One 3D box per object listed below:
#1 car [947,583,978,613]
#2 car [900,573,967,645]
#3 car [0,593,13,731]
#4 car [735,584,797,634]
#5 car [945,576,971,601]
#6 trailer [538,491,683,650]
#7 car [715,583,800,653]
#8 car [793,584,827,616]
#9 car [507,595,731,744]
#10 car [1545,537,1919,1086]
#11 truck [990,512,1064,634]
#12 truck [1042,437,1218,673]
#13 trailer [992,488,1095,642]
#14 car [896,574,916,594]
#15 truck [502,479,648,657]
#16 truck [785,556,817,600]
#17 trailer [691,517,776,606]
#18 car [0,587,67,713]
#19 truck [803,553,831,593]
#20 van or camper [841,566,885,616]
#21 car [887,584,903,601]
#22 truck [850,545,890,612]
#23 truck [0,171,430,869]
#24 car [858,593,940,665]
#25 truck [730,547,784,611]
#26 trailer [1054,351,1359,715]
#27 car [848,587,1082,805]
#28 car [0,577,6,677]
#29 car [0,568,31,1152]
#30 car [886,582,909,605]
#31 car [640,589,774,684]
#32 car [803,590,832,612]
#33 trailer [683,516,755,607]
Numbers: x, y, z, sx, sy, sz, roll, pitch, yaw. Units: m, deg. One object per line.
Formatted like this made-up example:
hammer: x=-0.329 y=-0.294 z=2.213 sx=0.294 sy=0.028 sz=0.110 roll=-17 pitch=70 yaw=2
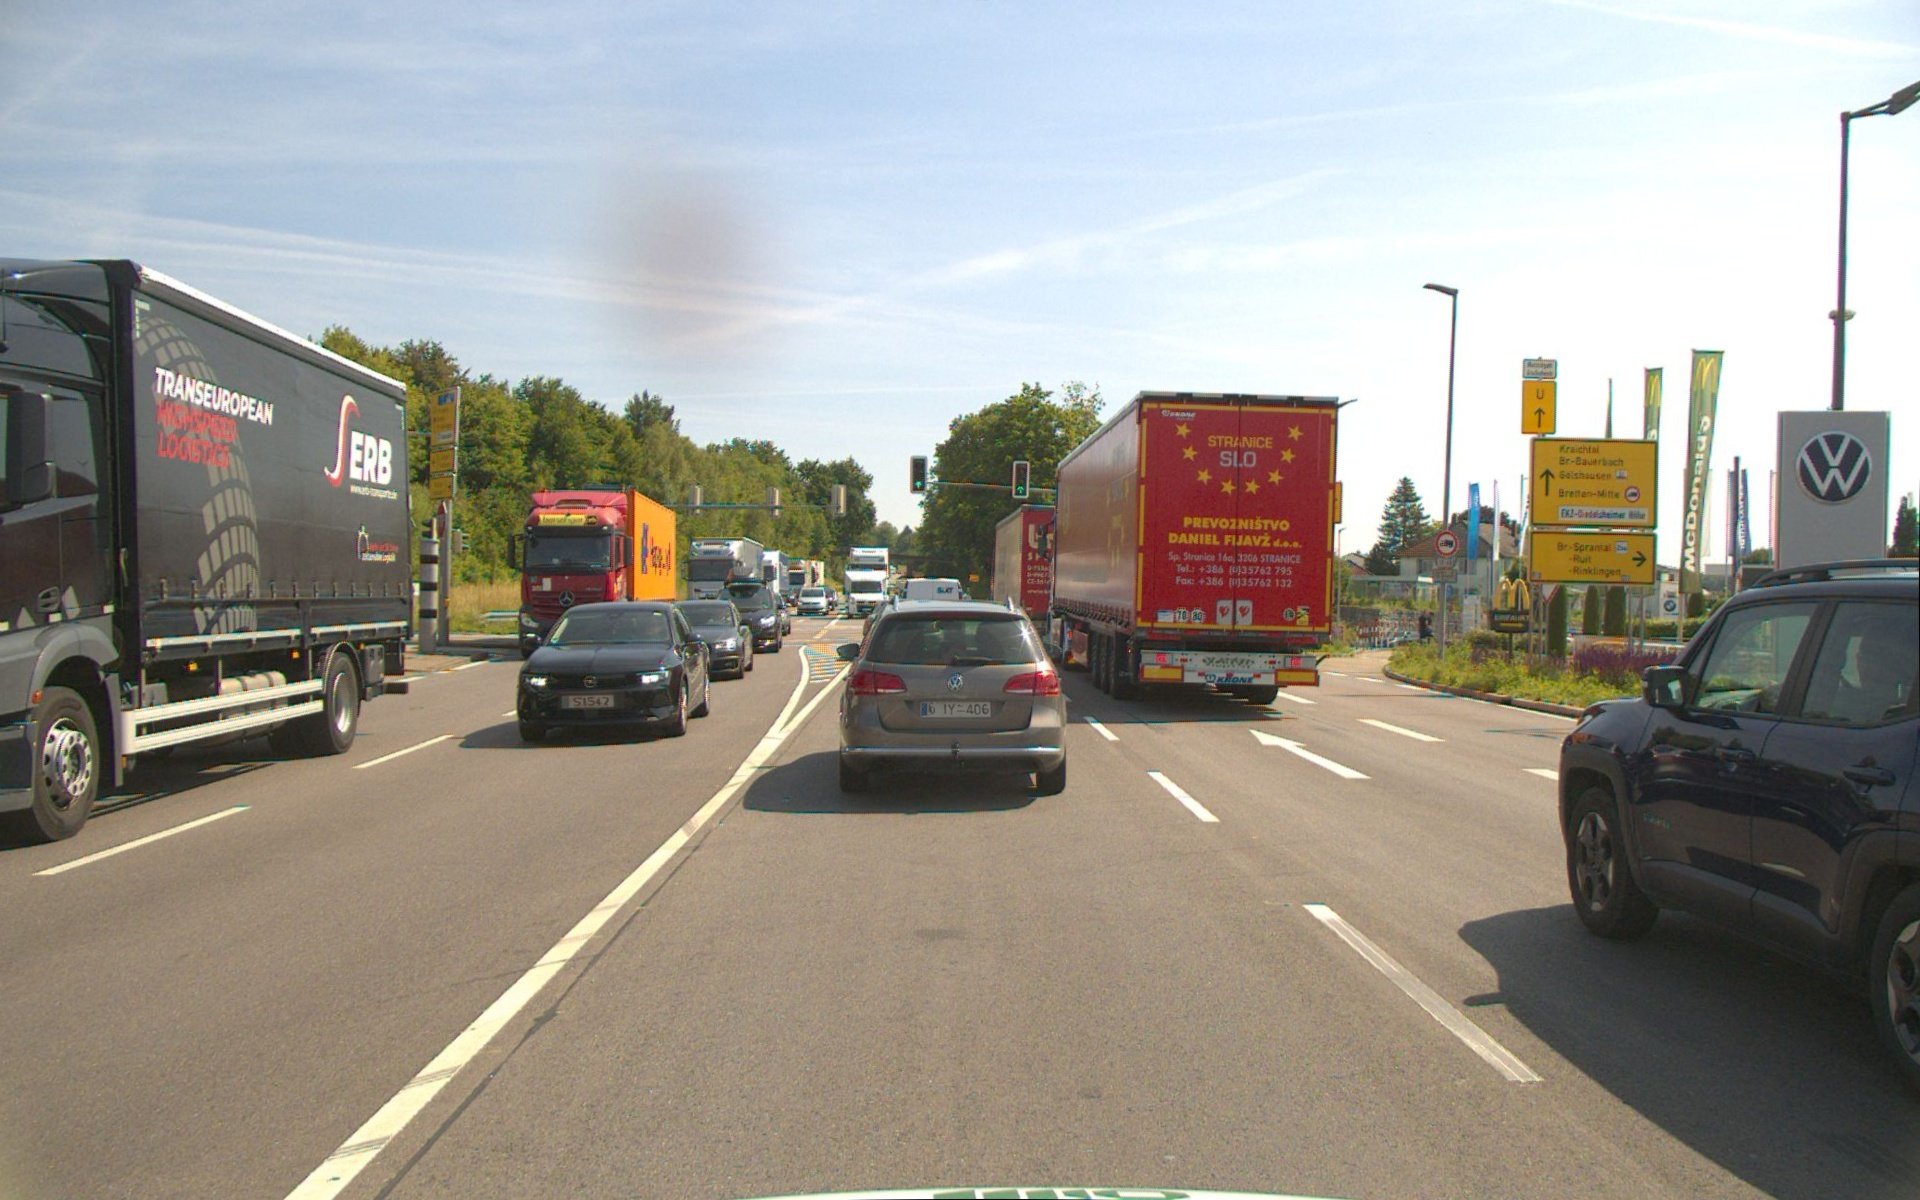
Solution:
car: x=0.159 y=-0.134 z=114.915 sx=1.954 sy=2.049 sz=3.997 roll=0 pitch=0 yaw=-3
car: x=-0.802 y=0.237 z=47.526 sx=1.735 sy=1.970 sz=3.975 roll=0 pitch=0 yaw=-3
car: x=-13.007 y=0.556 z=17.842 sx=4.661 sy=1.501 sz=1.870 roll=4 pitch=-1 yaw=-35
car: x=-6.844 y=0.273 z=58.621 sx=1.883 sy=1.630 sz=4.586 roll=-1 pitch=1 yaw=-3
car: x=-0.160 y=-0.938 z=139.083 sx=1.954 sy=2.049 sz=3.997 roll=0 pitch=0 yaw=-3
trailer: x=-9.982 y=-0.794 z=48.567 sx=2.667 sy=4.068 sz=12.222 roll=0 pitch=0 yaw=-5
car: x=-5.183 y=0.419 z=42.832 sx=1.870 sy=1.630 sz=4.586 roll=-1 pitch=1 yaw=-3
car: x=-9.086 y=-0.016 z=100.465 sx=1.806 sy=1.763 sz=4.586 roll=2 pitch=1 yaw=-3
car: x=-3.801 y=0.703 z=19.163 sx=1.677 sy=1.469 sz=4.378 roll=-2 pitch=0 yaw=0
car: x=3.789 y=0.643 z=6.185 sx=1.734 sy=1.683 sz=3.999 roll=0 pitch=0 yaw=-1
truck: x=2.357 y=-0.940 z=59.757 sx=2.357 sy=4.200 sz=5.520 roll=0 pitch=0 yaw=-1
truck: x=3.354 y=-0.865 z=34.128 sx=2.812 sy=4.355 sz=5.838 roll=2 pitch=0 yaw=-1
trailer: x=2.469 y=-1.016 z=52.791 sx=2.346 sy=4.317 sz=13.074 roll=0 pitch=0 yaw=-1
car: x=-5.475 y=-1.609 z=167.347 sx=1.954 sy=2.049 sz=3.997 roll=0 pitch=0 yaw=-3
truck: x=-9.387 y=-0.755 z=40.935 sx=2.667 sy=4.068 sz=6.051 roll=0 pitch=0 yaw=-5
truck: x=-15.014 y=-2.042 z=156.726 sx=2.675 sy=4.069 sz=9.613 roll=0 pitch=0 yaw=-3
trailer: x=-11.541 y=-1.865 z=85.595 sx=2.637 sy=4.220 sz=13.877 roll=0 pitch=0 yaw=-1
car: x=-13.826 y=0.526 z=20.324 sx=4.675 sy=1.539 sz=1.926 roll=4 pitch=-1 yaw=-42
truck: x=-15.153 y=-2.799 z=175.656 sx=2.773 sy=4.188 sz=9.675 roll=0 pitch=0 yaw=-4
van or camper: x=-5.297 y=-0.512 z=91.472 sx=2.283 sy=2.645 sz=6.975 roll=0 pitch=0 yaw=-2
car: x=-7.935 y=-0.945 z=201.442 sx=1.954 sy=2.049 sz=3.997 roll=0 pitch=0 yaw=-3
truck: x=-5.749 y=-1.330 z=105.092 sx=2.487 sy=4.159 sz=6.260 roll=0 pitch=0 yaw=-4
truck: x=-7.216 y=-0.488 z=14.271 sx=2.657 sy=4.068 sz=9.969 roll=0 pitch=0 yaw=-4
car: x=-1.404 y=0.606 z=37.100 sx=1.735 sy=1.539 sz=3.997 roll=0 pitch=0 yaw=-3
truck: x=-13.360 y=-1.369 z=109.450 sx=3.124 sy=4.151 sz=6.341 roll=0 pitch=0 yaw=-3
trailer: x=3.454 y=-0.858 z=27.234 sx=2.781 sy=4.441 sz=13.165 roll=2 pitch=0 yaw=-1
car: x=-0.078 y=0.666 z=13.701 sx=1.658 sy=1.539 sz=3.997 roll=0 pitch=0 yaw=-3
car: x=-15.573 y=0.386 z=21.890 sx=4.758 sy=1.654 sz=1.902 roll=4 pitch=-2 yaw=-43
car: x=-3.357 y=0.736 z=2.605 sx=1.620 sy=1.583 sz=3.998 roll=-2 pitch=0 yaw=-2
car: x=-5.634 y=-0.608 z=149.219 sx=1.954 sy=2.049 sz=3.997 roll=0 pitch=0 yaw=-3
car: x=-4.604 y=0.611 z=30.688 sx=1.823 sy=1.550 sz=4.588 roll=-1 pitch=1 yaw=-1
car: x=-10.095 y=0.049 z=117.086 sx=1.955 sy=1.511 sz=4.449 roll=0 pitch=0 yaw=-5
trailer: x=-11.444 y=-1.798 z=79.004 sx=2.591 sy=4.176 sz=6.179 roll=0 pitch=0 yaw=-1
